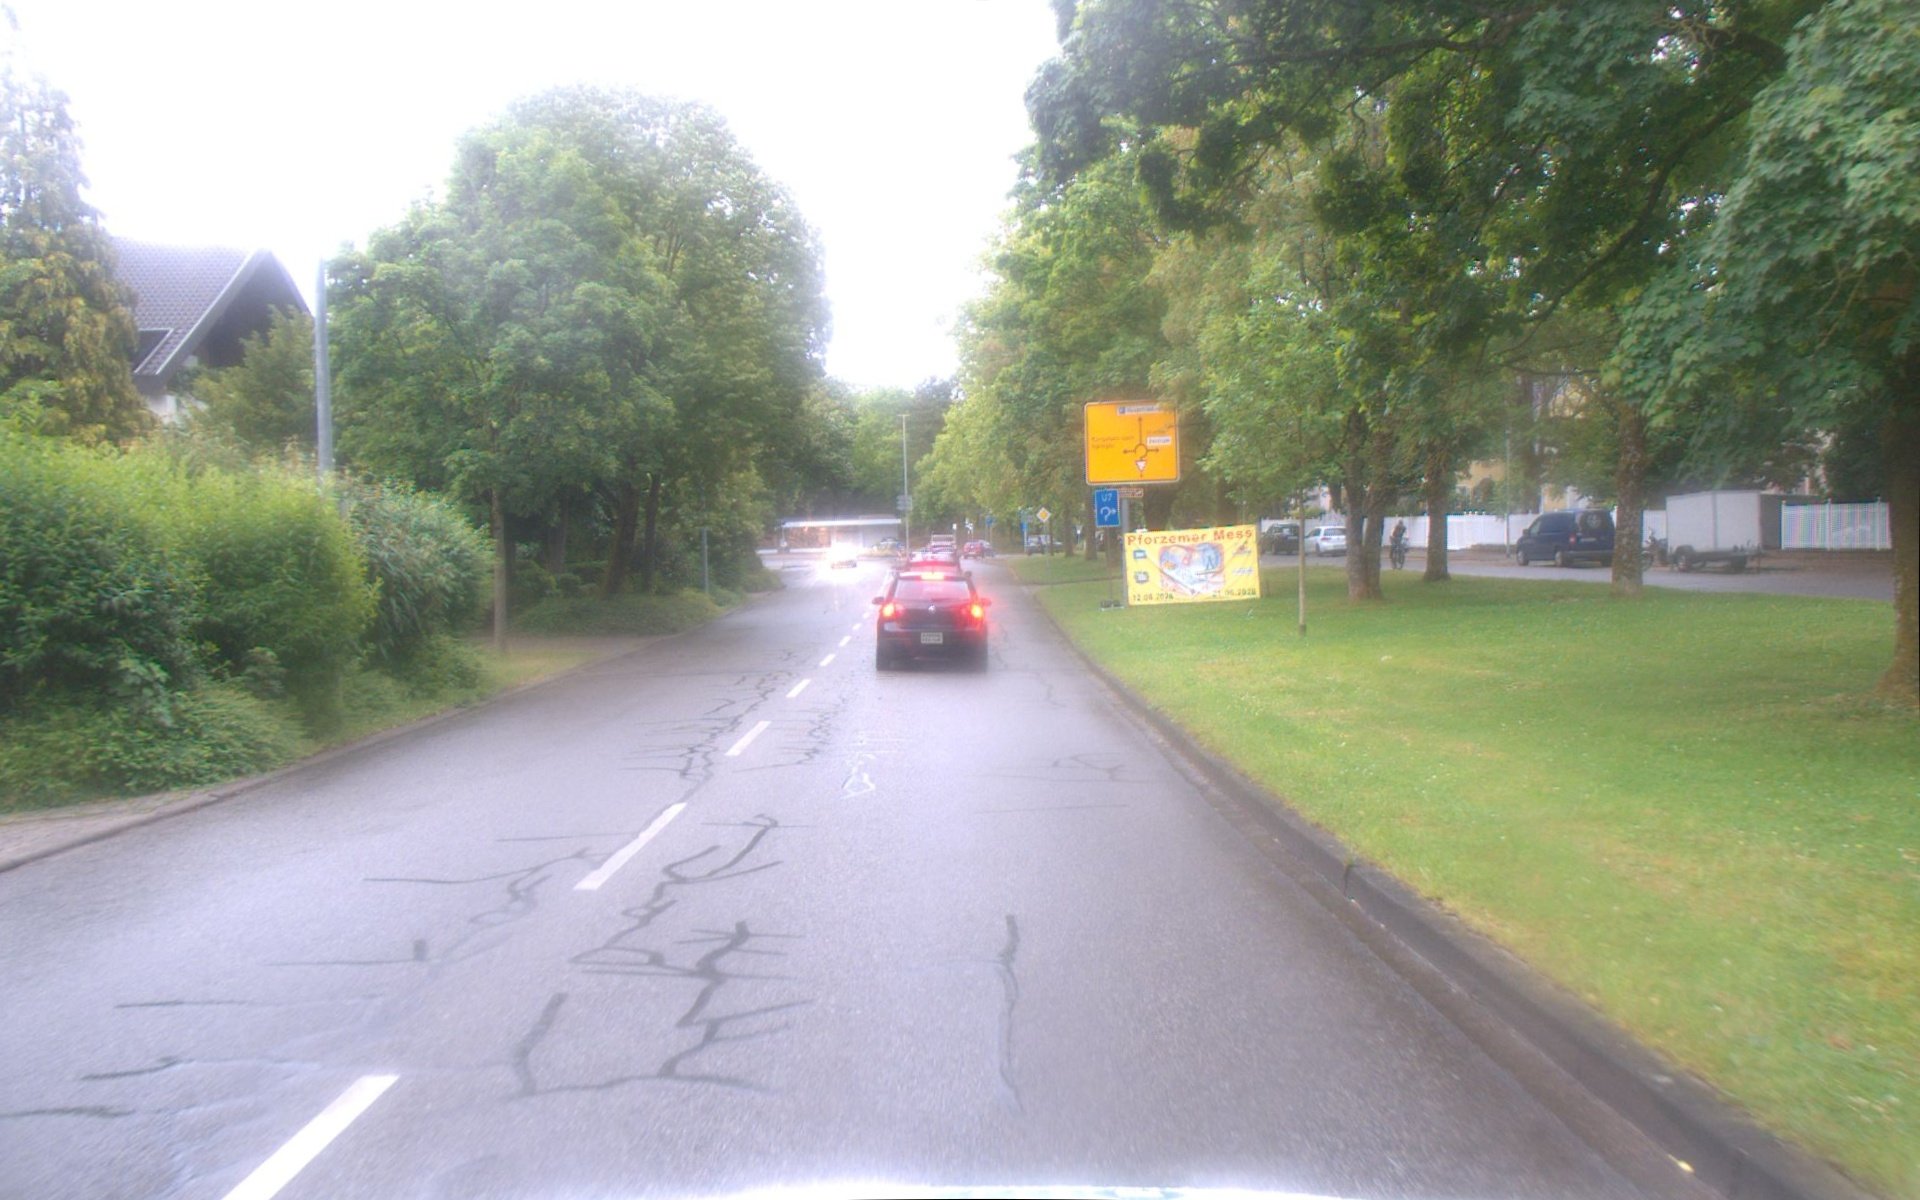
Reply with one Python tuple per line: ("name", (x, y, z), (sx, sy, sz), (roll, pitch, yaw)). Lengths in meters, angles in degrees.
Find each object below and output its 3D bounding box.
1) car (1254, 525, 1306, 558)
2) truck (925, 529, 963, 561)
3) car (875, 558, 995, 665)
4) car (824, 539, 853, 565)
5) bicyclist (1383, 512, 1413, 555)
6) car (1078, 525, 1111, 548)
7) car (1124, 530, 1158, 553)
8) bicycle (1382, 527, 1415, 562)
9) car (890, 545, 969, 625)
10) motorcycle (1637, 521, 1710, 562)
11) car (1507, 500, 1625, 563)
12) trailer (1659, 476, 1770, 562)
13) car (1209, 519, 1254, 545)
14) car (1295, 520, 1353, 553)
("car", (17.057, -3.133, 88.298), (1.766, 1.556, 4.111), (-3, 3, -3))
("truck", (-1.117, -3.772, 112.738), (2.368, 2.039, 5.150), (-2, 2, -2))
("car", (-0.380, 0.120, 26.162), (1.762, 1.541, 3.754), (0, 2, 0))
("car", (-8.210, -3.288, 112.013), (1.728, 1.642, 4.140), (-3, 2, -2))
("bicyclist", (14.788, -2.230, 55.834), (0.729, 1.415, 1.000), (-2, 1, -1))
("car", (9.176, -4.336, 113.118), (1.767, 1.409, 4.001), (-4, 3, -1))
("car", (12.420, -4.017, 113.457), (1.767, 1.430, 4.001), (-4, 3, -1))
("bicycle", (14.799, -1.874, 55.863), (0.583, 1.158, 1.863), (-2, 2, 0))
("car", (-0.733, -0.416, 41.452), (1.817, 1.815, 4.001), (-2, 2, 0))
("motorcycle", (20.440, -1.673, 47.397), (1.846, 1.111, 0.659), (-1, 3, 19))
("car", (19.894, -2.308, 54.549), (1.903, 1.840, 4.647), (-4, 4, -3))
("trailer", (20.519, -2.190, 45.096), (1.408, 2.191, 2.947), (-3, 2, -6))
("car", (16.499, -4.160, 100.599), (1.766, 1.435, 4.111), (-3, 3, -3))
("car", (17.740, -3.123, 80.757), (1.585, 1.434, 4.006), (-3, 3, -6))
